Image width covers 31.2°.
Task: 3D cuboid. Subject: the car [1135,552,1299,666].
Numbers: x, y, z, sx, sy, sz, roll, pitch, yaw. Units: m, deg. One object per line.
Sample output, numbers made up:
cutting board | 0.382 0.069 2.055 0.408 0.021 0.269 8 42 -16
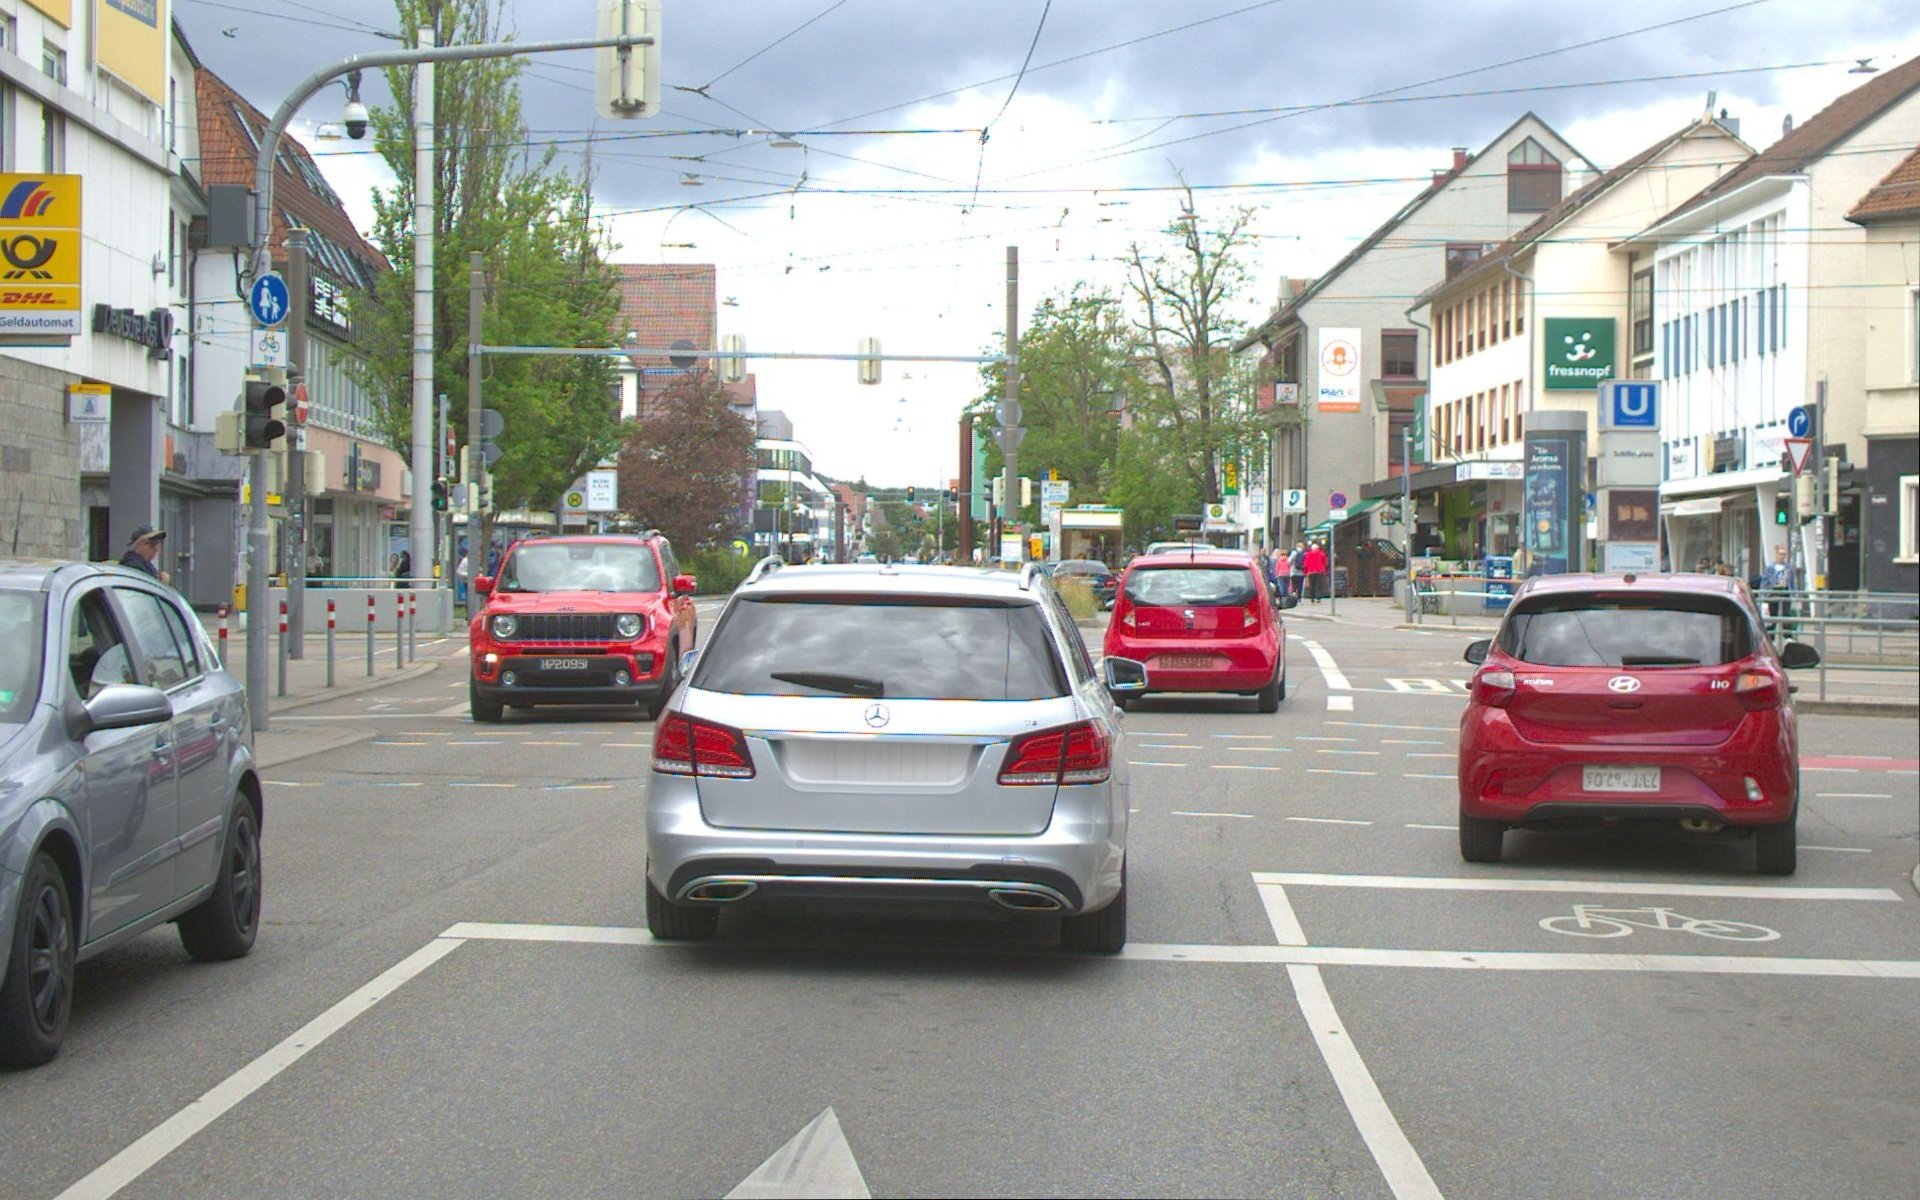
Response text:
car | 3.507 0.096 47.453 1.734 1.503 4.001 0 1 -3

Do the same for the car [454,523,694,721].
car | -3.461 0.165 31.435 1.799 1.689 3.898 0 1 -1

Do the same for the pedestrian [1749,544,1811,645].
pedestrian | 14.028 -0.102 58.821 0.841 1.712 0.727 0 1 -4

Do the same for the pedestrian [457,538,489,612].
pedestrian | -10.633 -0.549 75.049 0.633 1.600 0.705 0 0 -14

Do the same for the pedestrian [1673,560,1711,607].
pedestrian | 18.225 -0.418 85.615 0.736 1.160 0.643 1 0 -3

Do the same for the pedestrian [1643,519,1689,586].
pedestrian | 16.781 -1.133 81.728 0.640 1.586 0.898 1 0 -21

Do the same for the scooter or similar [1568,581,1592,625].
scooter or similar | 13.953 0.064 77.391 0.271 0.998 1.029 0 1 -5

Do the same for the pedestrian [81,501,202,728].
pedestrian | -6.314 0.105 26.548 0.648 1.712 0.782 2 1 6

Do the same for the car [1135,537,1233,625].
car | 4.588 -0.413 70.856 1.734 1.753 4.000 0 1 0

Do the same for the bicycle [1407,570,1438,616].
bicycle | 11.363 -0.184 84.576 0.448 1.103 2.149 0 1 0

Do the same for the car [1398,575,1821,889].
car | 3.404 0.623 18.688 1.698 1.447 4.000 2 1 3

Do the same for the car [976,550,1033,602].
car | 1.775 -0.981 138.405 1.993 2.007 4.001 1 1 -3

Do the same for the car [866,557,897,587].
car | -5.431 -1.924 237.972 1.993 2.007 4.001 1 1 -3

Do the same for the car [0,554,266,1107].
car | -3.401 0.592 10.894 1.657 1.461 3.921 0 1 -1

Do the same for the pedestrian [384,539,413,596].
pedestrian | -15.985 -0.927 97.833 0.702 1.600 0.580 0 0 -22

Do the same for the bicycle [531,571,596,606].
bicycle | -12.186 -0.351 105.620 1.937 1.025 0.530 1 0 -11

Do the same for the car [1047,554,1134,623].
car | 3.396 -0.329 90.397 1.993 1.744 4.000 1 1 -2

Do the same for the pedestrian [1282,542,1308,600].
pedestrian | 9.615 -0.829 98.620 0.578 1.661 0.651 1 0 -6

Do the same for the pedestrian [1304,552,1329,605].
pedestrian | 9.878 -0.596 95.260 0.578 1.464 0.651 1 0 -3

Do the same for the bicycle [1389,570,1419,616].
bicycle | 10.914 -0.179 84.570 0.448 1.087 2.149 0 1 0

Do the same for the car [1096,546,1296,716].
car | 2.330 0.251 33.142 1.734 1.503 3.999 1 1 6

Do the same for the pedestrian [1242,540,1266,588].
pedestrian | 8.904 -1.098 104.149 0.578 1.430 0.651 1 0 -6

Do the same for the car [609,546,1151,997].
car | -0.298 0.569 14.114 1.845 1.503 4.171 2 1 -1

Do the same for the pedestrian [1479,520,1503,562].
pedestrian | 15.476 -1.713 100.177 0.533 1.214 0.580 1 0 -3
